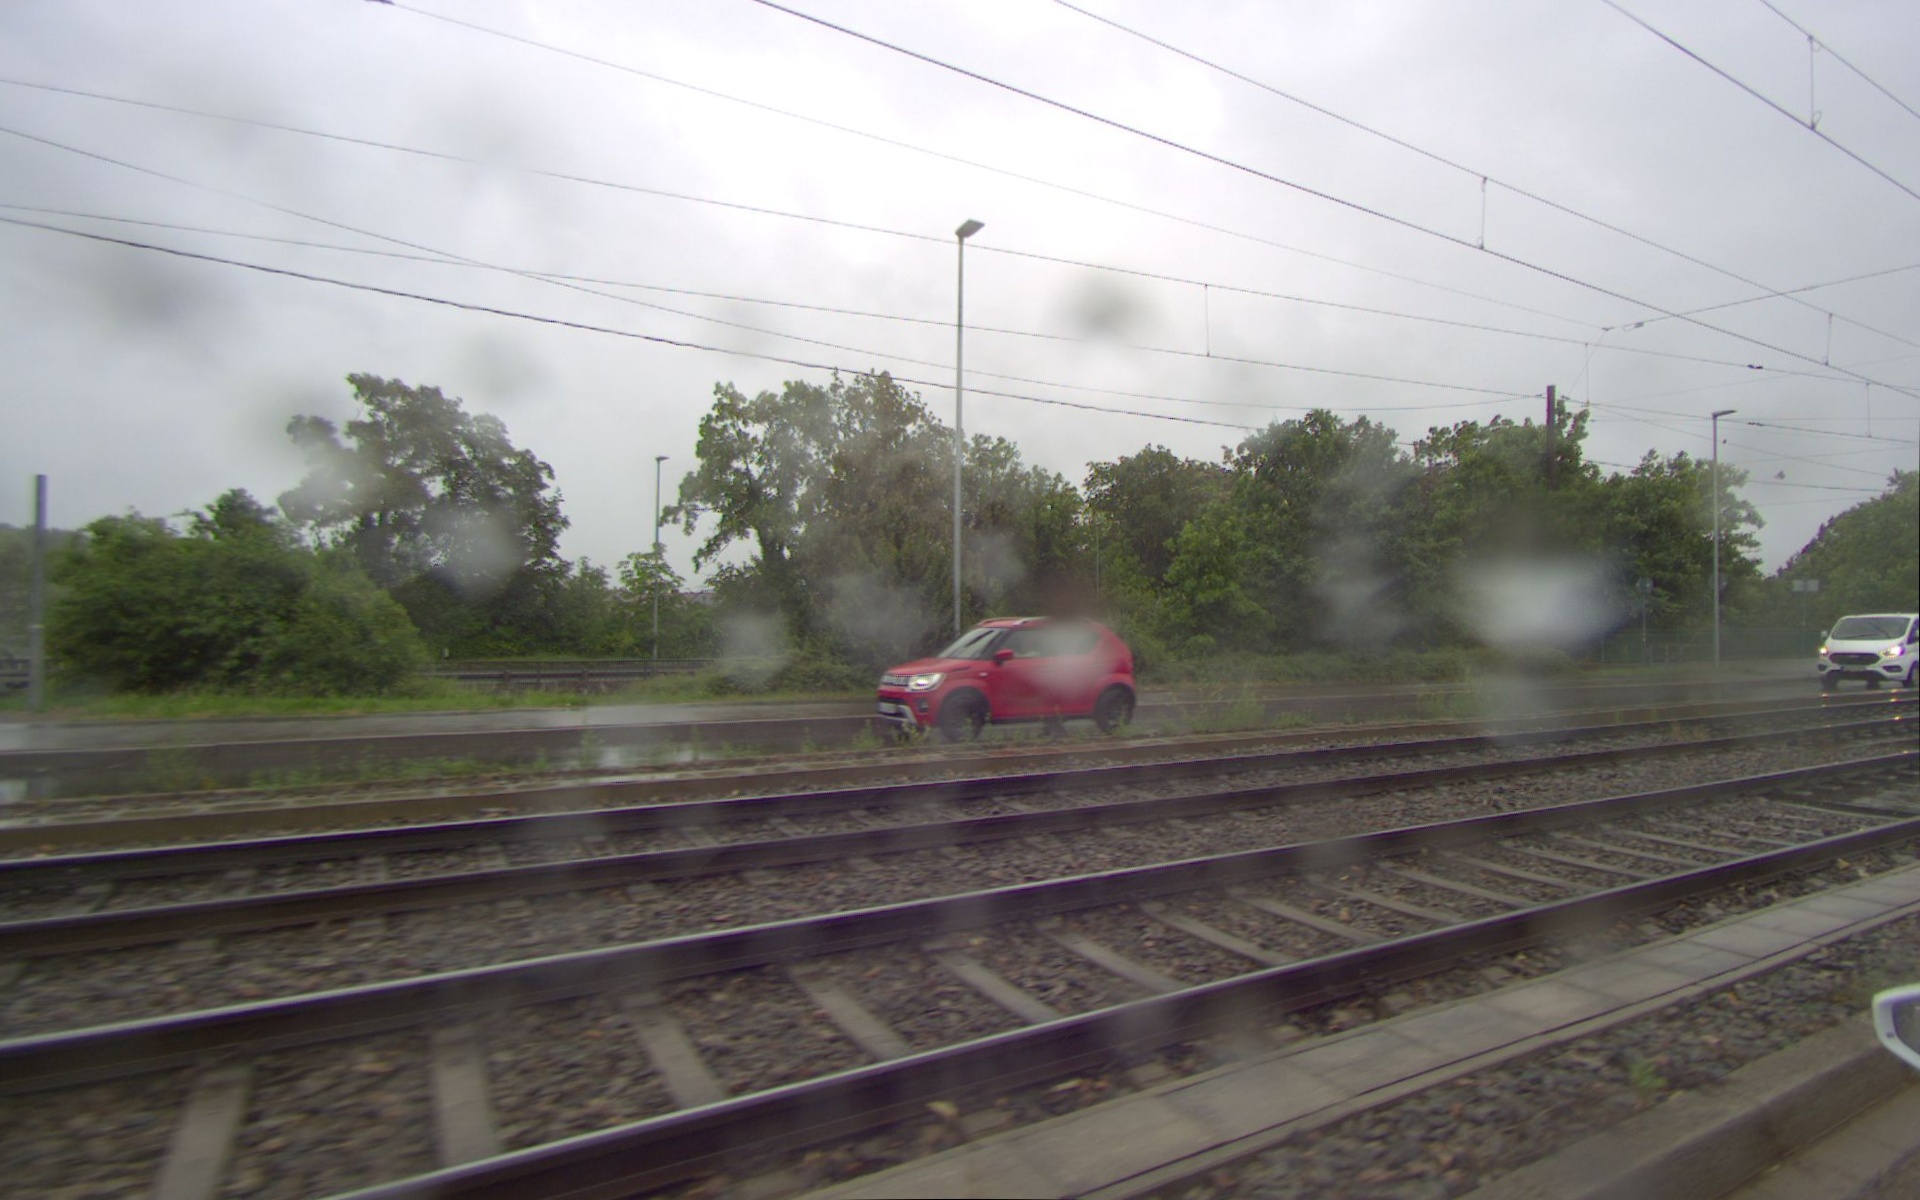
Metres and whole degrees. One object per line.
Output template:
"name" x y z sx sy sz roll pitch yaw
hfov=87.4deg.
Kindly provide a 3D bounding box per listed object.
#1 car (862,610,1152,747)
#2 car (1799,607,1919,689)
"car" 0.667 1.006 13.779 3.609 1.622 1.715 2 0 -31
"car" 25.781 1.286 28.121 4.970 2.071 1.983 1 0 -31
